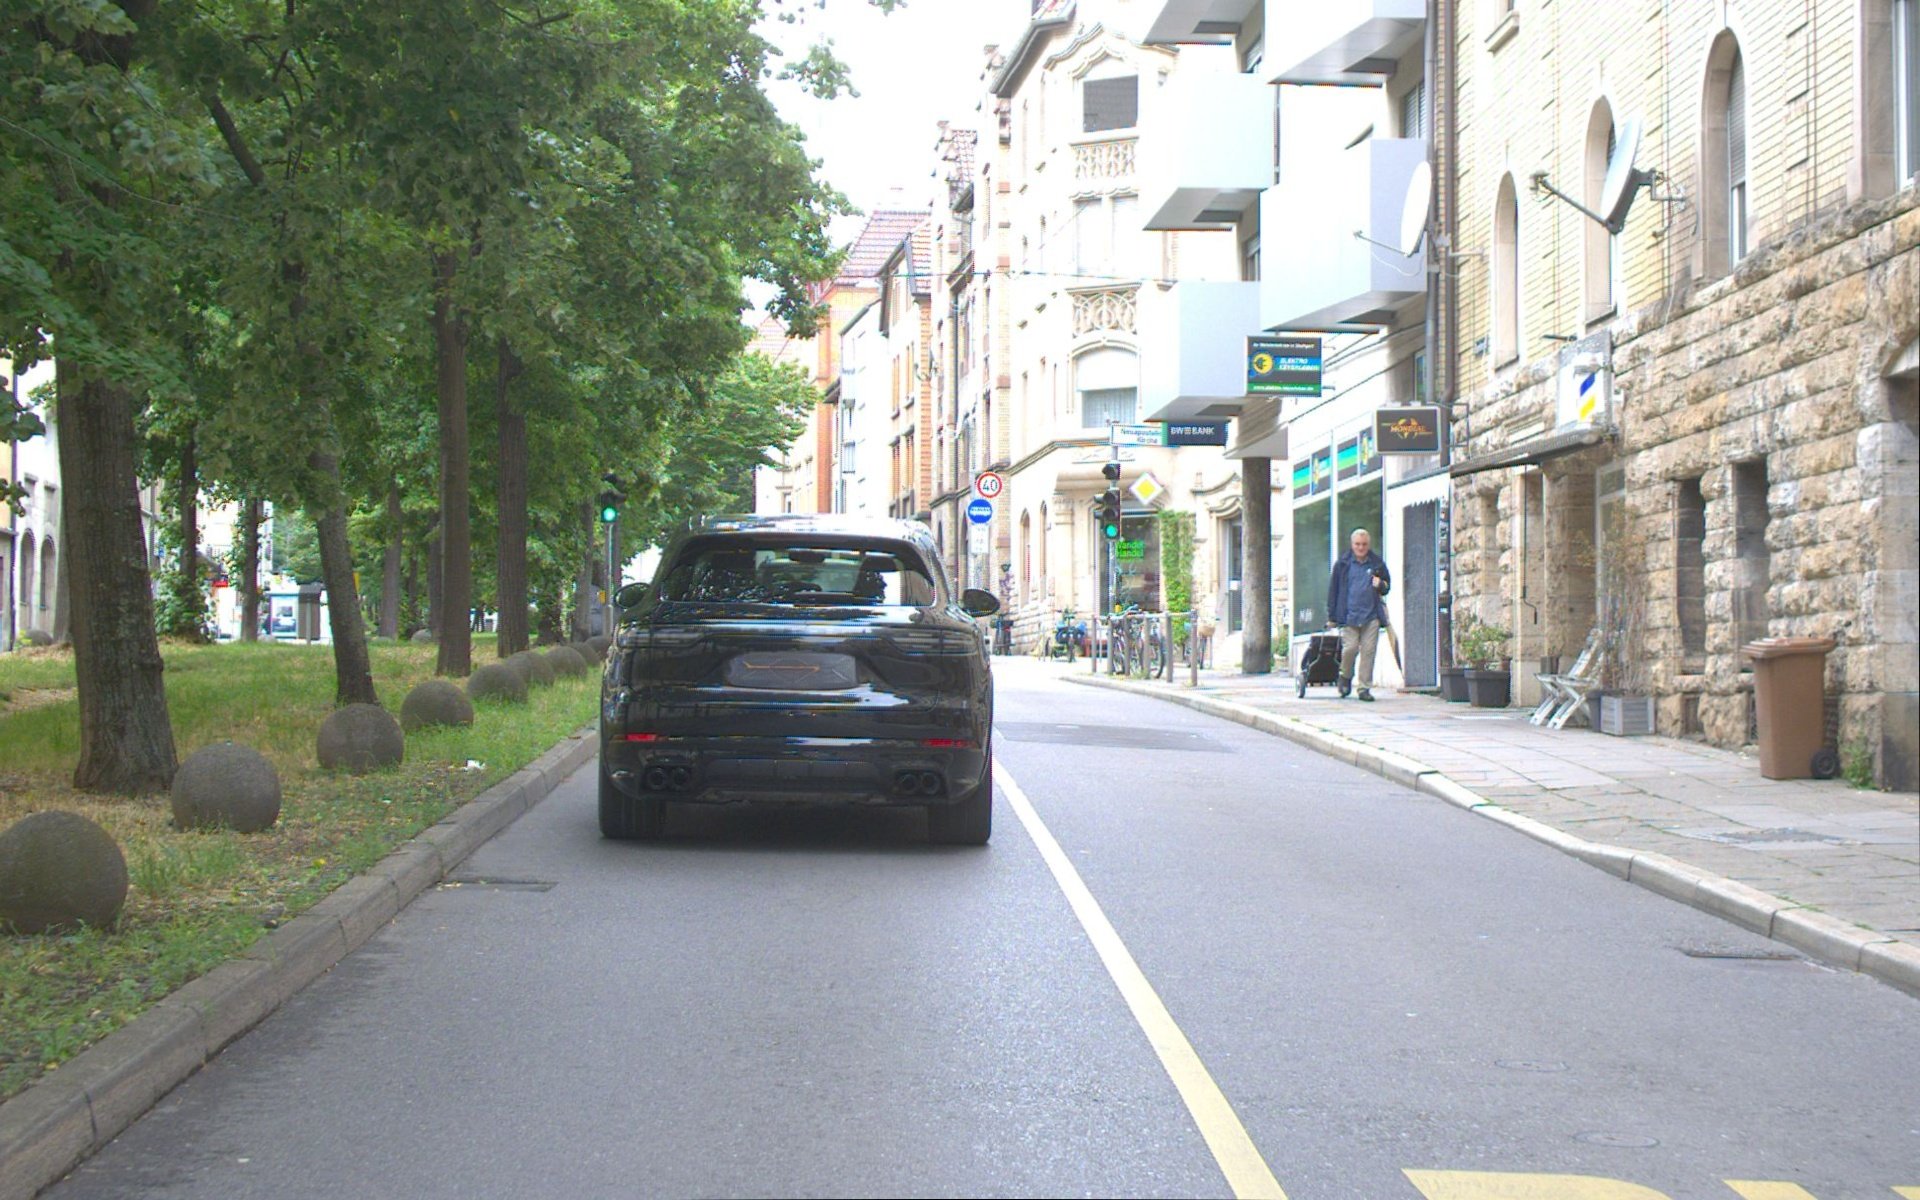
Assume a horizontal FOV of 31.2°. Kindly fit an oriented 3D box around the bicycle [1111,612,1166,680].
[{"bbox_3d":[2.508,0.657,48.504,0.569,0.928,1.775,1,-1,-3],"label":"bicycle"}]

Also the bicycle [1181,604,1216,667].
[{"bbox_3d":[4.974,0.737,71.865,0.446,1.157,1.835,0,4,-5],"label":"bicycle"}]

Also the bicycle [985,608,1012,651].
[{"bbox_3d":[0.949,0.736,84.999,0.446,1.033,2.248,0,-2,-5],"label":"bicycle"}]

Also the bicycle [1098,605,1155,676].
[{"bbox_3d":[2.501,0.609,51.819,0.286,1.051,1.761,1,-1,-16],"label":"bicycle"}]

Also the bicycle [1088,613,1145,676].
[{"bbox_3d":[2.335,0.661,51.494,0.286,0.928,1.761,1,-1,-16],"label":"bicycle"}]

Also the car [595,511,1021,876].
[{"bbox_3d":[-0.796,0.396,18.342,1.993,1.660,4.001,1,2,-2],"label":"car"}]

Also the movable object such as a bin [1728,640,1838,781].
[{"bbox_3d":[5.388,0.729,22.523,0.594,0.901,0.503,1,-3,-1],"label":"movable object such as a bin"}]

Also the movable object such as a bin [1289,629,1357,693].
[{"bbox_3d":[3.857,0.648,36.538,0.607,0.666,0.858,0,-1,-2],"label":"movable object such as a bin"}]

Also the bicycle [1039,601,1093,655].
[{"bbox_3d":[2.267,0.607,73.905,0.879,1.125,2.979,1,-1,-4],"label":"bicycle"}]

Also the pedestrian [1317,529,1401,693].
[{"bbox_3d":[4.139,0.119,35.691,0.751,1.687,0.858,0,-1,-1],"label":"pedestrian"}]

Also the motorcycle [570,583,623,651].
[{"bbox_3d":[-7.852,0.375,74.313,1.019,1.441,2.247,-1,-1,-3],"label":"motorcycle"}]
